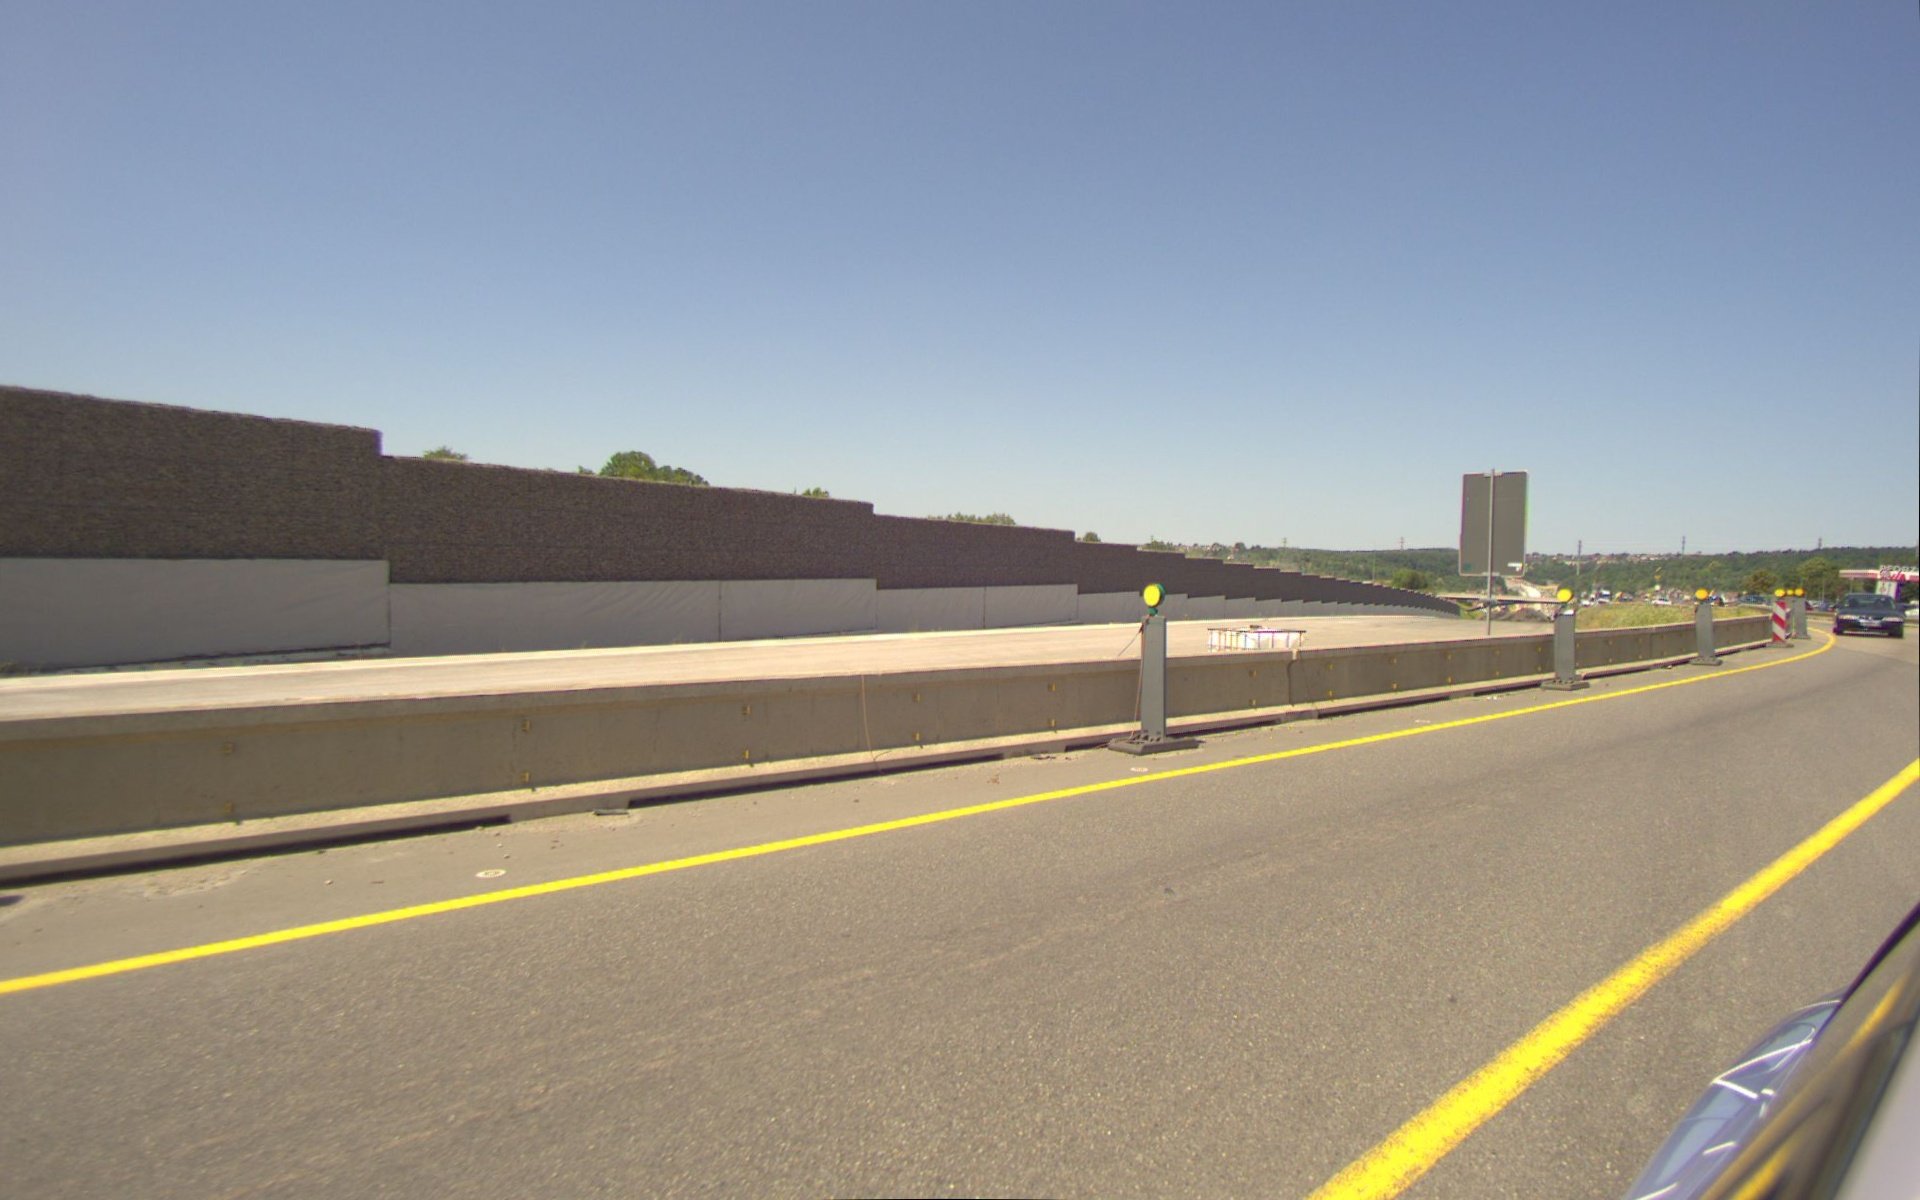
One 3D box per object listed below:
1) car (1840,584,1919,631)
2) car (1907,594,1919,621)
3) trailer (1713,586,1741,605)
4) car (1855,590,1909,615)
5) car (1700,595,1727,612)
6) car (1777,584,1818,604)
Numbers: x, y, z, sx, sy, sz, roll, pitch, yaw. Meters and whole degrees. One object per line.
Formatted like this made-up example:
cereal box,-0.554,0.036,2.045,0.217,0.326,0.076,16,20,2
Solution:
car,30.356,0.257,33.359,1.804,1.322,3.943,6,2,39
car,51.692,0.415,52.994,2.005,1.462,4.540,2,1,29
trailer,105.143,-0.580,138.835,2.171,2.342,5.554,5,2,30
car,59.233,0.134,65.090,1.582,1.458,4.081,6,3,30
car,77.420,0.341,103.991,1.693,1.705,3.751,1,1,28
car,68.672,-0.497,83.000,1.767,1.444,4.717,6,3,31
